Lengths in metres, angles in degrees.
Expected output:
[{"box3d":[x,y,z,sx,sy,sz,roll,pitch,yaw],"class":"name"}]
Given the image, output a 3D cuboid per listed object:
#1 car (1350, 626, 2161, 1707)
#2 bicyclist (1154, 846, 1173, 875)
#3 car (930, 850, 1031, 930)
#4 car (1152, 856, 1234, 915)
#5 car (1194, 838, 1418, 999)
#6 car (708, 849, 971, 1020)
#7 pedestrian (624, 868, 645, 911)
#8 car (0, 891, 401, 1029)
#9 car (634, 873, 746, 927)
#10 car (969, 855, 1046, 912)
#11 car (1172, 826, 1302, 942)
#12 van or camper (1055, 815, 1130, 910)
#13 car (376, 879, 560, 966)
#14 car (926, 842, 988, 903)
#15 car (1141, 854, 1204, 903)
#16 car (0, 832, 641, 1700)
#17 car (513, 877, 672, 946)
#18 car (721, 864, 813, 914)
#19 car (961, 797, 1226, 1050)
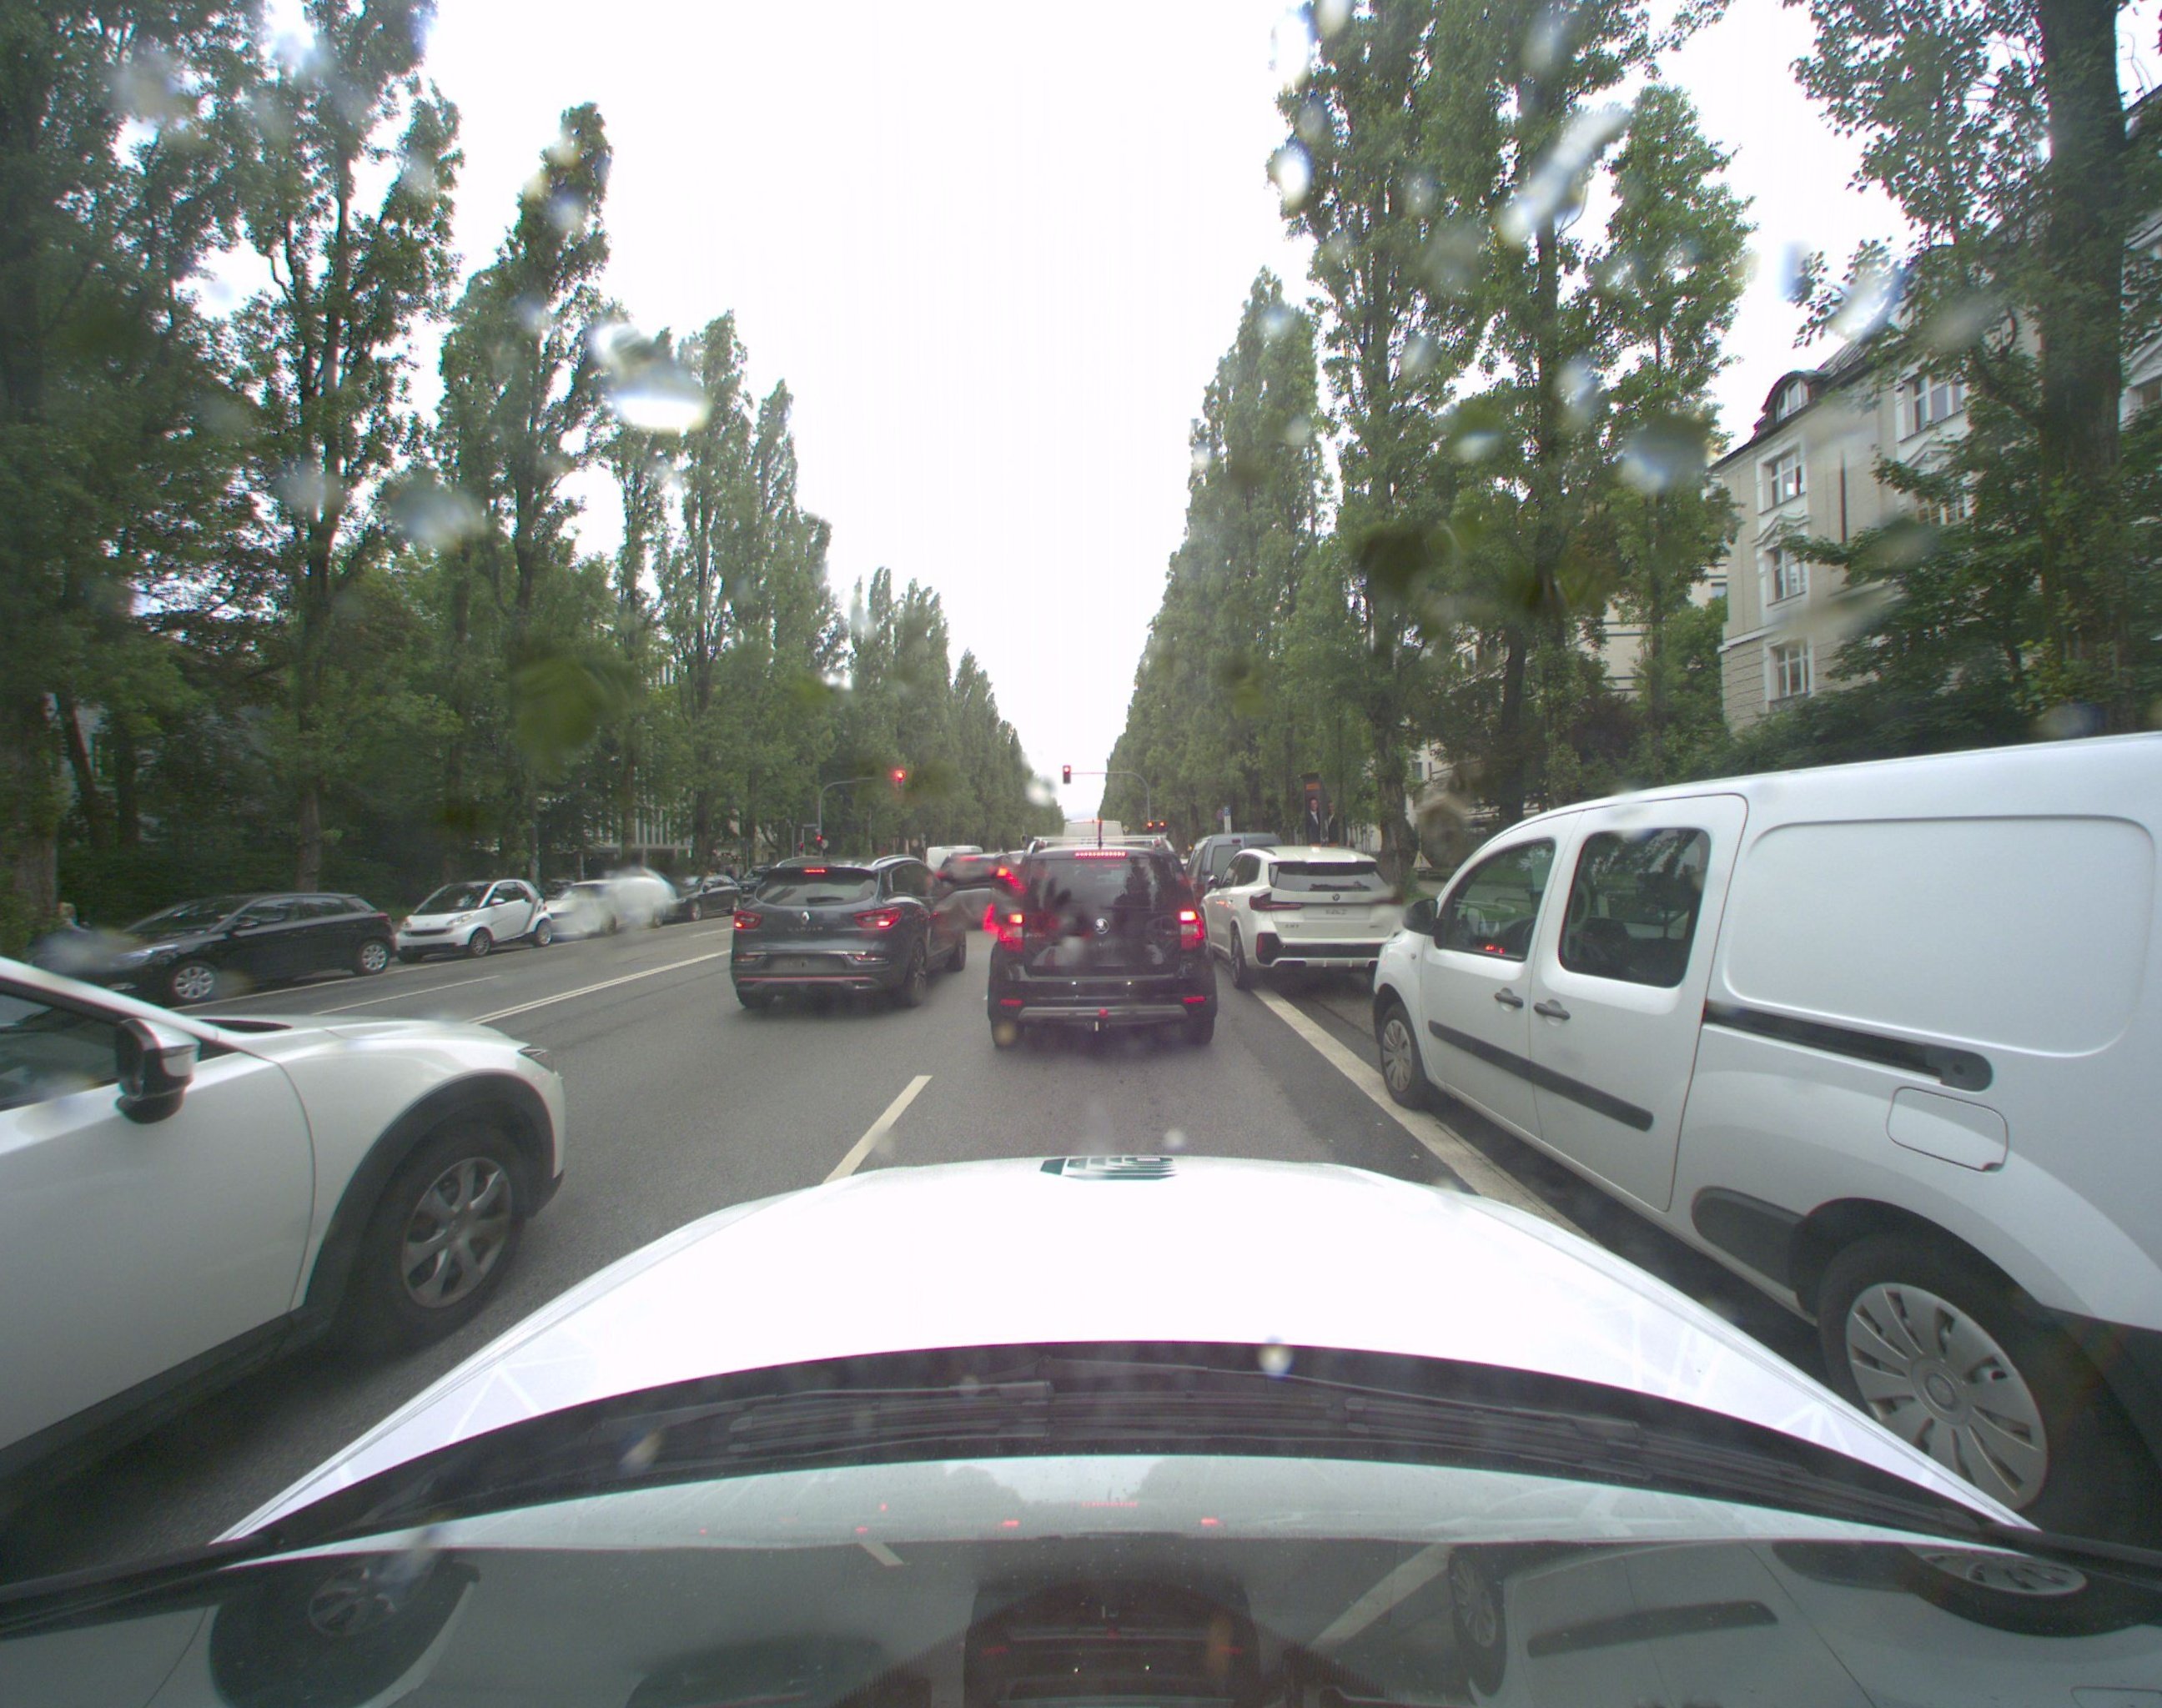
[{"box3d":[2.743,0.524,3.359,1.845,1.881,4.168,-2,0,0],"class":"car"},{"box3d":[4.995,0.375,49.281,0.905,1.722,0.822,-2,0,-9],"class":"bicyclist"},{"box3d":[-2.204,0.737,18.905,1.775,1.620,4.025,-1,0,1],"class":"car"},{"box3d":[2.904,0.778,21.785,1.729,1.387,3.563,-2,0,1],"class":"car"},{"box3d":[2.591,0.648,10.437,1.735,1.593,4.212,-2,0,1],"class":"car"},{"box3d":[-2.528,0.750,9.676,1.829,1.586,4.185,0,0,1],"class":"car"},{"box3d":[-15.939,1.263,29.091,0.463,1.528,0.395,-2,0,1],"class":"pedestrian"},{"box3d":[-12.582,1.408,12.056,1.594,1.425,3.853,-4,0,2],"class":"car"},{"box3d":[-12.551,1.430,26.457,1.619,1.389,4.164,-4,0,-2],"class":"car"},{"box3d":[-2.192,0.852,25.477,1.987,1.560,4.000,-2,0,0],"class":"car"},{"box3d":[2.846,0.497,15.711,1.729,1.895,4.025,-2,0,1],"class":"car"},{"box3d":[0.294,0.220,24.464,1.969,2.548,4.023,-2,0,-1],"class":"van or camper"},{"box3d":[-12.531,1.342,16.869,1.423,1.447,2.966,-5,0,0],"class":"car"},{"box3d":[-4.647,0.670,30.936,1.777,2.111,4.021,-3,0,-2],"class":"car"},{"box3d":[2.977,0.761,27.087,1.729,1.475,3.563,-2,0,1],"class":"car"},{"box3d":[-2.876,0.756,1.352,1.897,1.525,4.012,-2,0,3],"class":"car"},{"box3d":[-12.506,1.398,21.187,1.619,1.389,4.164,-4,0,-2],"class":"car"},{"box3d":[-12.415,1.336,32.575,1.844,1.654,4.693,-4,0,-2],"class":"car"},{"box3d":[0.132,0.485,7.699,1.849,1.770,4.001,0,0,1],"class":"car"}]
